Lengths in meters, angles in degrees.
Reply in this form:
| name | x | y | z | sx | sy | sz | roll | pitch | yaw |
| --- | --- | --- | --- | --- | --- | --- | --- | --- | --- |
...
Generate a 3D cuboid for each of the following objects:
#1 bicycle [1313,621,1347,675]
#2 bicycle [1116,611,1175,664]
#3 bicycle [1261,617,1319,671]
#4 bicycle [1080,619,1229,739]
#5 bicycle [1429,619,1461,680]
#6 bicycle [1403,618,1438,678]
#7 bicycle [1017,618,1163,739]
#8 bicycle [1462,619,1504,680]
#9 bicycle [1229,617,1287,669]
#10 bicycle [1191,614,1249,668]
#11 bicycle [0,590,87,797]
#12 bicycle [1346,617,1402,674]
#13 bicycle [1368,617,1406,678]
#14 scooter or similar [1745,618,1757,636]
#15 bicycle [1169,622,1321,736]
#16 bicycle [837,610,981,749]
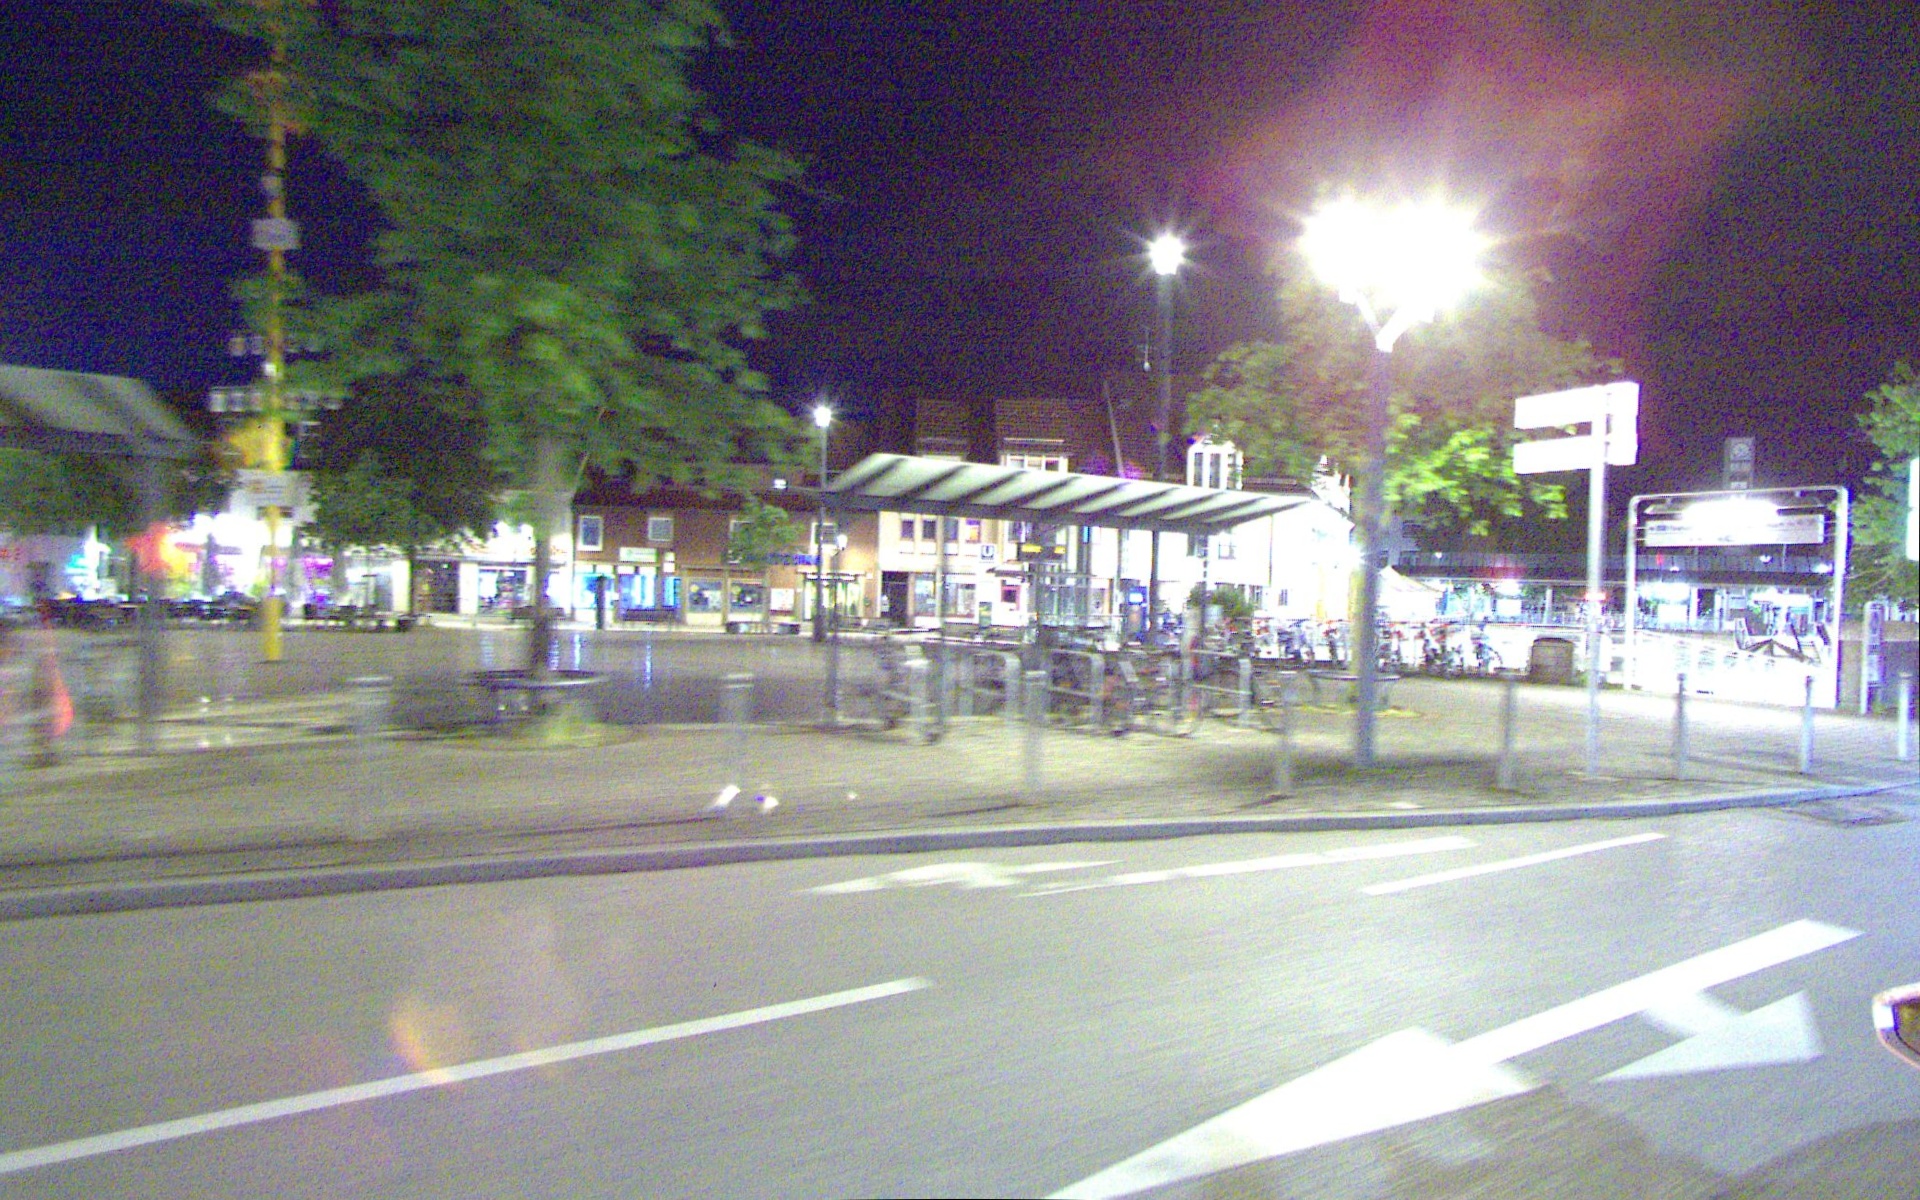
| name | x | y | z | sx | sy | sz | roll | pitch | yaw |
| --- | --- | --- | --- | --- | --- | --- | --- | --- | --- |
| bicycle | 8.124 | 1.035 | 22.036 | 0.597 | 1.084 | 1.746 | 0 | 0 | 24 |
| bicycle | 4.527 | 0.888 | 24.472 | 0.600 | 1.235 | 1.737 | 0 | 0 | 42 |
| bicycle | 7.455 | 0.974 | 22.643 | 0.600 | 1.140 | 1.737 | 0 | 0 | 42 |
| bicycle | 2.047 | 0.804 | 10.789 | 0.662 | 1.120 | 1.608 | 2 | 0 | -30 |
| bicycle | 10.094 | 1.000 | 20.876 | 0.535 | 1.170 | 1.744 | 0 | 0 | 28 |
| bicycle | 9.794 | 0.994 | 21.340 | 0.598 | 1.181 | 1.744 | 0 | 0 | 28 |
| bicycle | 1.324 | 0.785 | 10.558 | 0.662 | 1.120 | 1.608 | 2 | 0 | -30 |
| bicycle | 10.946 | 1.012 | 21.013 | 0.747 | 1.177 | 1.744 | 0 | 0 | 28 |
| bicycle | 6.955 | 0.981 | 23.389 | 0.600 | 1.115 | 1.737 | 0 | 0 | 42 |
| bicycle | 6.084 | 0.941 | 23.454 | 0.600 | 1.181 | 1.737 | 0 | 0 | 42 |
| bicycle | -6.331 | 0.568 | 6.324 | 0.776 | 1.182 | 1.729 | 1 | 3 | -24 |
| bicycle | 9.148 | 0.989 | 22.171 | 0.600 | 1.181 | 1.737 | 0 | 0 | 42 |
| bicycle | 8.946 | 0.970 | 21.018 | 0.598 | 1.181 | 1.744 | 0 | 0 | 28 |
| scooter or similar | 59.014 | 2.002 | 74.948 | 0.423 | 1.302 | 1.146 | 0 | 0 | 25 |
| bicycle | 3.154 | 0.849 | 11.265 | 0.662 | 1.120 | 1.608 | 2 | 0 | -30 |
| bicycle | -0.535 | 0.706 | 9.699 | 0.662 | 1.179 | 1.761 | 1 | 0 | -30 |
